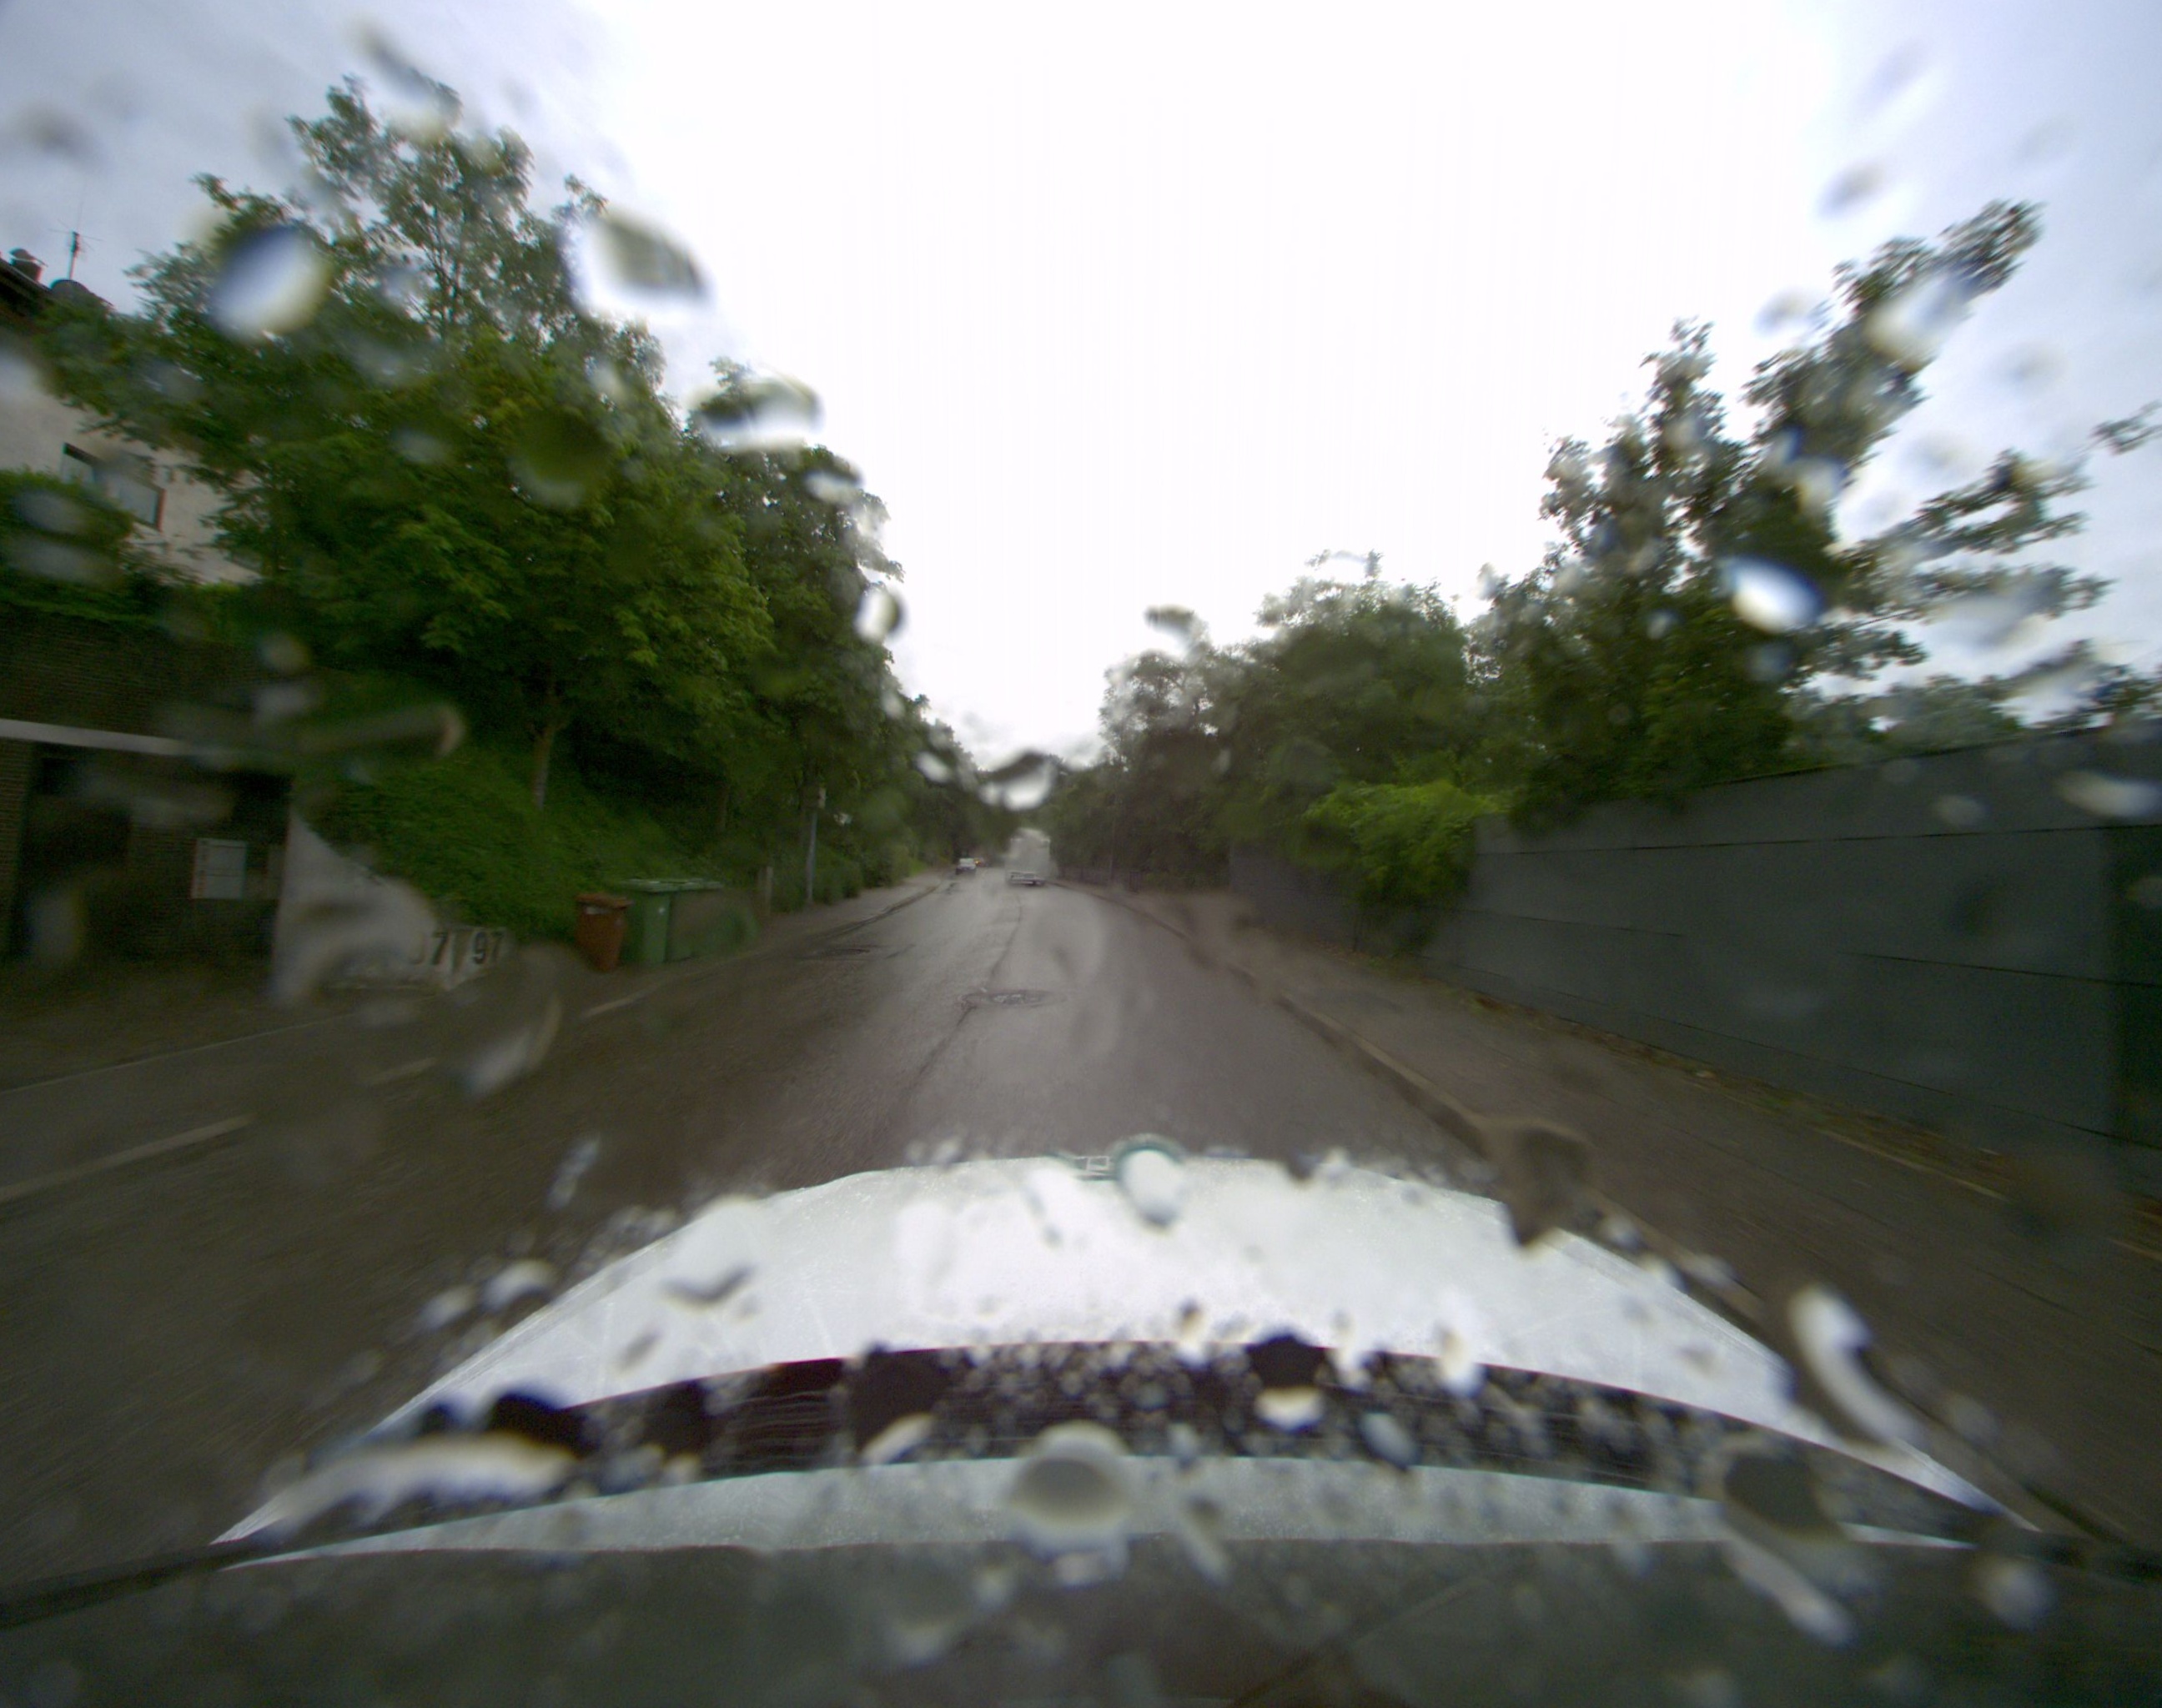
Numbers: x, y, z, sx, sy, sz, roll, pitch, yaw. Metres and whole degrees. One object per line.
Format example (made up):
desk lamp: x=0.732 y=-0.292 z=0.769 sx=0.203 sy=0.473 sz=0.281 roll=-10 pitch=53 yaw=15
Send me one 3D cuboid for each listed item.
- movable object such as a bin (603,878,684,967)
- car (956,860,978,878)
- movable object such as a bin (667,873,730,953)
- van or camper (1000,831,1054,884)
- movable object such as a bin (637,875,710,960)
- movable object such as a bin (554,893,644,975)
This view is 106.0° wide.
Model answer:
movable object such as a bin: x=-5.558 y=0.854 z=10.377 sx=0.646 sy=1.081 sz=0.673 roll=0 pitch=-1 yaw=-1
car: x=-9.376 y=1.229 z=67.173 sx=1.648 sy=1.385 sz=3.523 roll=1 pitch=-1 yaw=-5
movable object such as a bin: x=-5.479 y=0.834 z=11.685 sx=0.646 sy=1.115 sz=0.505 roll=0 pitch=-1 yaw=-1
van or camper: x=-3.308 y=0.275 z=48.213 sx=2.540 sy=2.925 sz=5.926 roll=-1 pitch=-1 yaw=-10
movable object such as a bin: x=-5.534 y=0.846 z=11.088 sx=0.646 sy=1.104 sz=0.673 roll=0 pitch=-1 yaw=-1
movable object such as a bin: x=-5.666 y=0.927 z=9.598 sx=0.646 sy=0.911 sz=0.673 roll=0 pitch=-1 yaw=-1
